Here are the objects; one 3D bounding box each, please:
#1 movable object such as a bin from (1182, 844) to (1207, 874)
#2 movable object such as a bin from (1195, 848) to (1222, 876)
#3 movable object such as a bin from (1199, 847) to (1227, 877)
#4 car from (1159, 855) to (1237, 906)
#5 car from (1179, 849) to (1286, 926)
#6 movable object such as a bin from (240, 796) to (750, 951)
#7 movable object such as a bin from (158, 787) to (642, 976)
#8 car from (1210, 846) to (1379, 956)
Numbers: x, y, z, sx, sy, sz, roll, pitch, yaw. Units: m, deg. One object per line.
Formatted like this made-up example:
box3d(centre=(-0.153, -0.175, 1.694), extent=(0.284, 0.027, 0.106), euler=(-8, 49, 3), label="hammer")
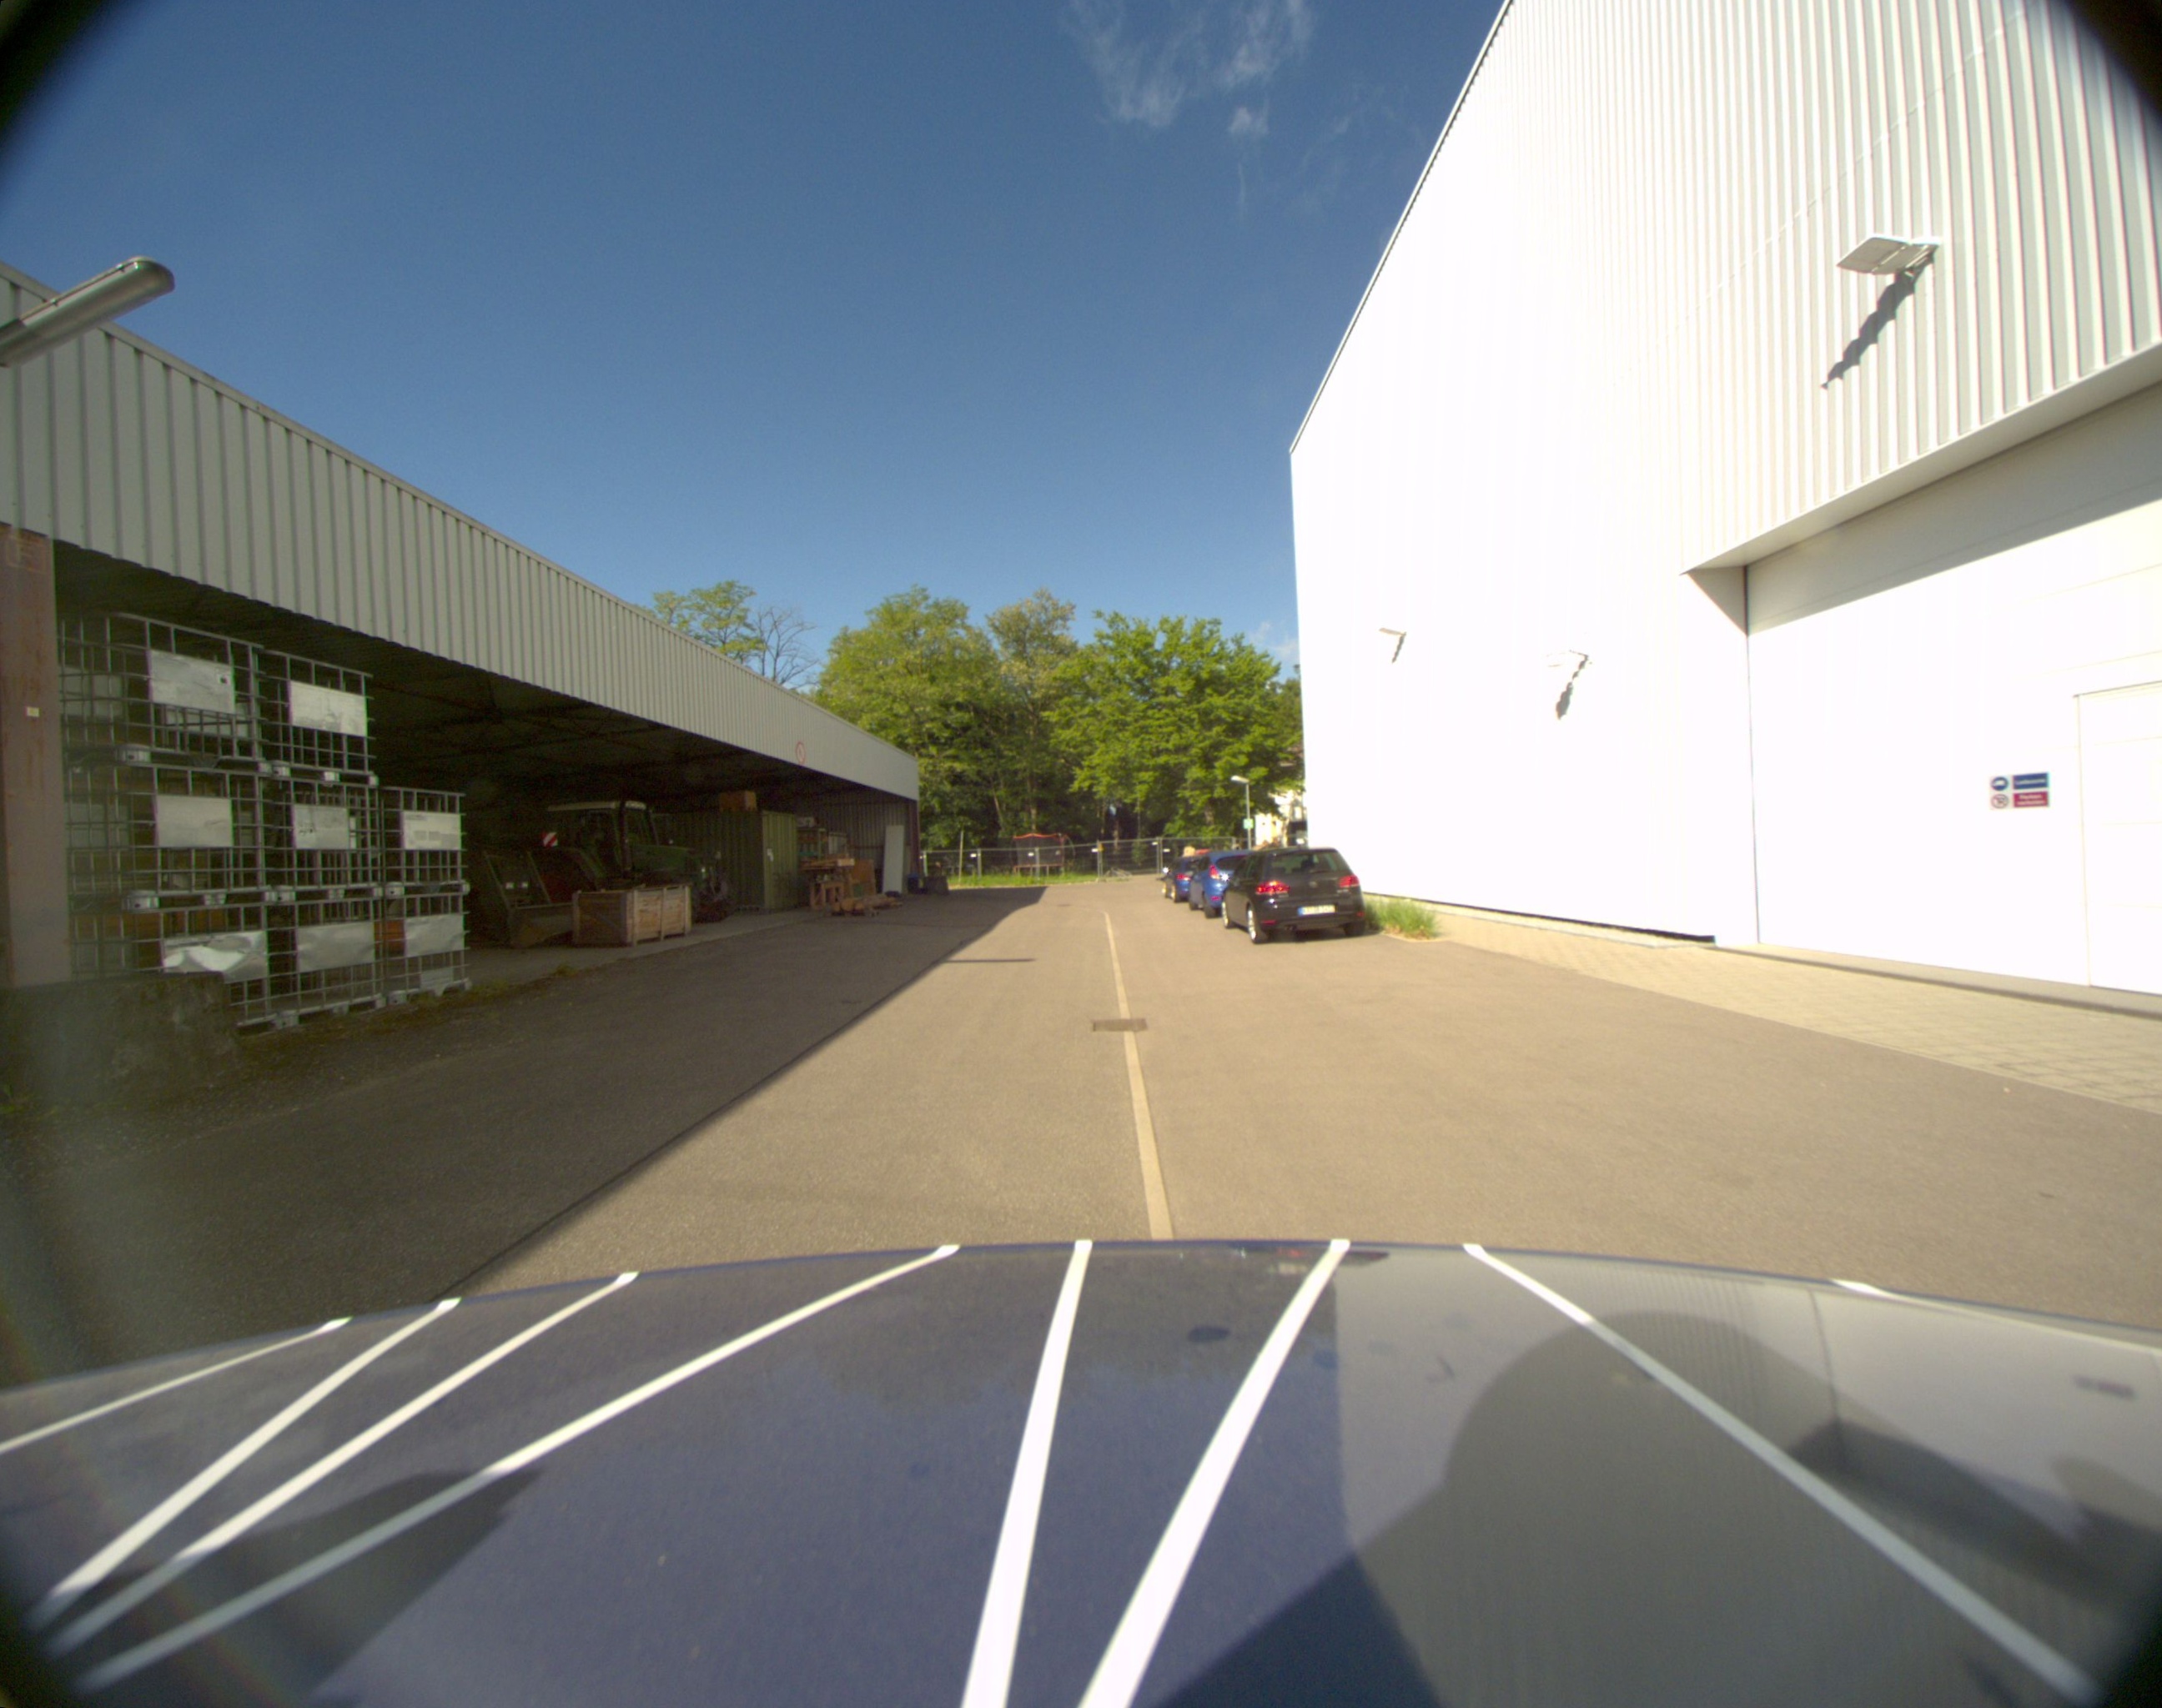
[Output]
box3d(centre=(6.314, 0.281, 42.308), extent=(1.093, 1.588, 1.230), euler=(-3, 2, -4), label="movable object such as a bin")
box3d(centre=(6.762, 0.414, 40.406), extent=(1.093, 1.431, 1.230), euler=(-4, 1, -4), label="movable object such as a bin")
box3d(centre=(6.776, 0.404, 39.071), extent=(1.093, 1.424, 1.230), euler=(-4, 1, -4), label="movable object such as a bin")
box3d(centre=(3.548, 0.752, 23.675), extent=(1.778, 1.352, 4.053), euler=(-3, 0, 0), label="car")
box3d(centre=(3.487, 0.702, 18.189), extent=(1.635, 1.491, 4.094), euler=(-5, 0, 0), label="car")
box3d(centre=(-12.941, 0.414, 17.428), extent=(9.214, 2.893, 3.212), euler=(-2, 0, 2), label="movable object such as a bin")
box3d(centre=(-12.194, 0.463, 14.110), extent=(6.200, 2.893, 3.016), euler=(-2, 0, 2), label="movable object such as a bin")
box3d(centre=(3.492, 0.681, 13.292), extent=(1.759, 1.491, 4.294), euler=(-4, 0, 2), label="car")
